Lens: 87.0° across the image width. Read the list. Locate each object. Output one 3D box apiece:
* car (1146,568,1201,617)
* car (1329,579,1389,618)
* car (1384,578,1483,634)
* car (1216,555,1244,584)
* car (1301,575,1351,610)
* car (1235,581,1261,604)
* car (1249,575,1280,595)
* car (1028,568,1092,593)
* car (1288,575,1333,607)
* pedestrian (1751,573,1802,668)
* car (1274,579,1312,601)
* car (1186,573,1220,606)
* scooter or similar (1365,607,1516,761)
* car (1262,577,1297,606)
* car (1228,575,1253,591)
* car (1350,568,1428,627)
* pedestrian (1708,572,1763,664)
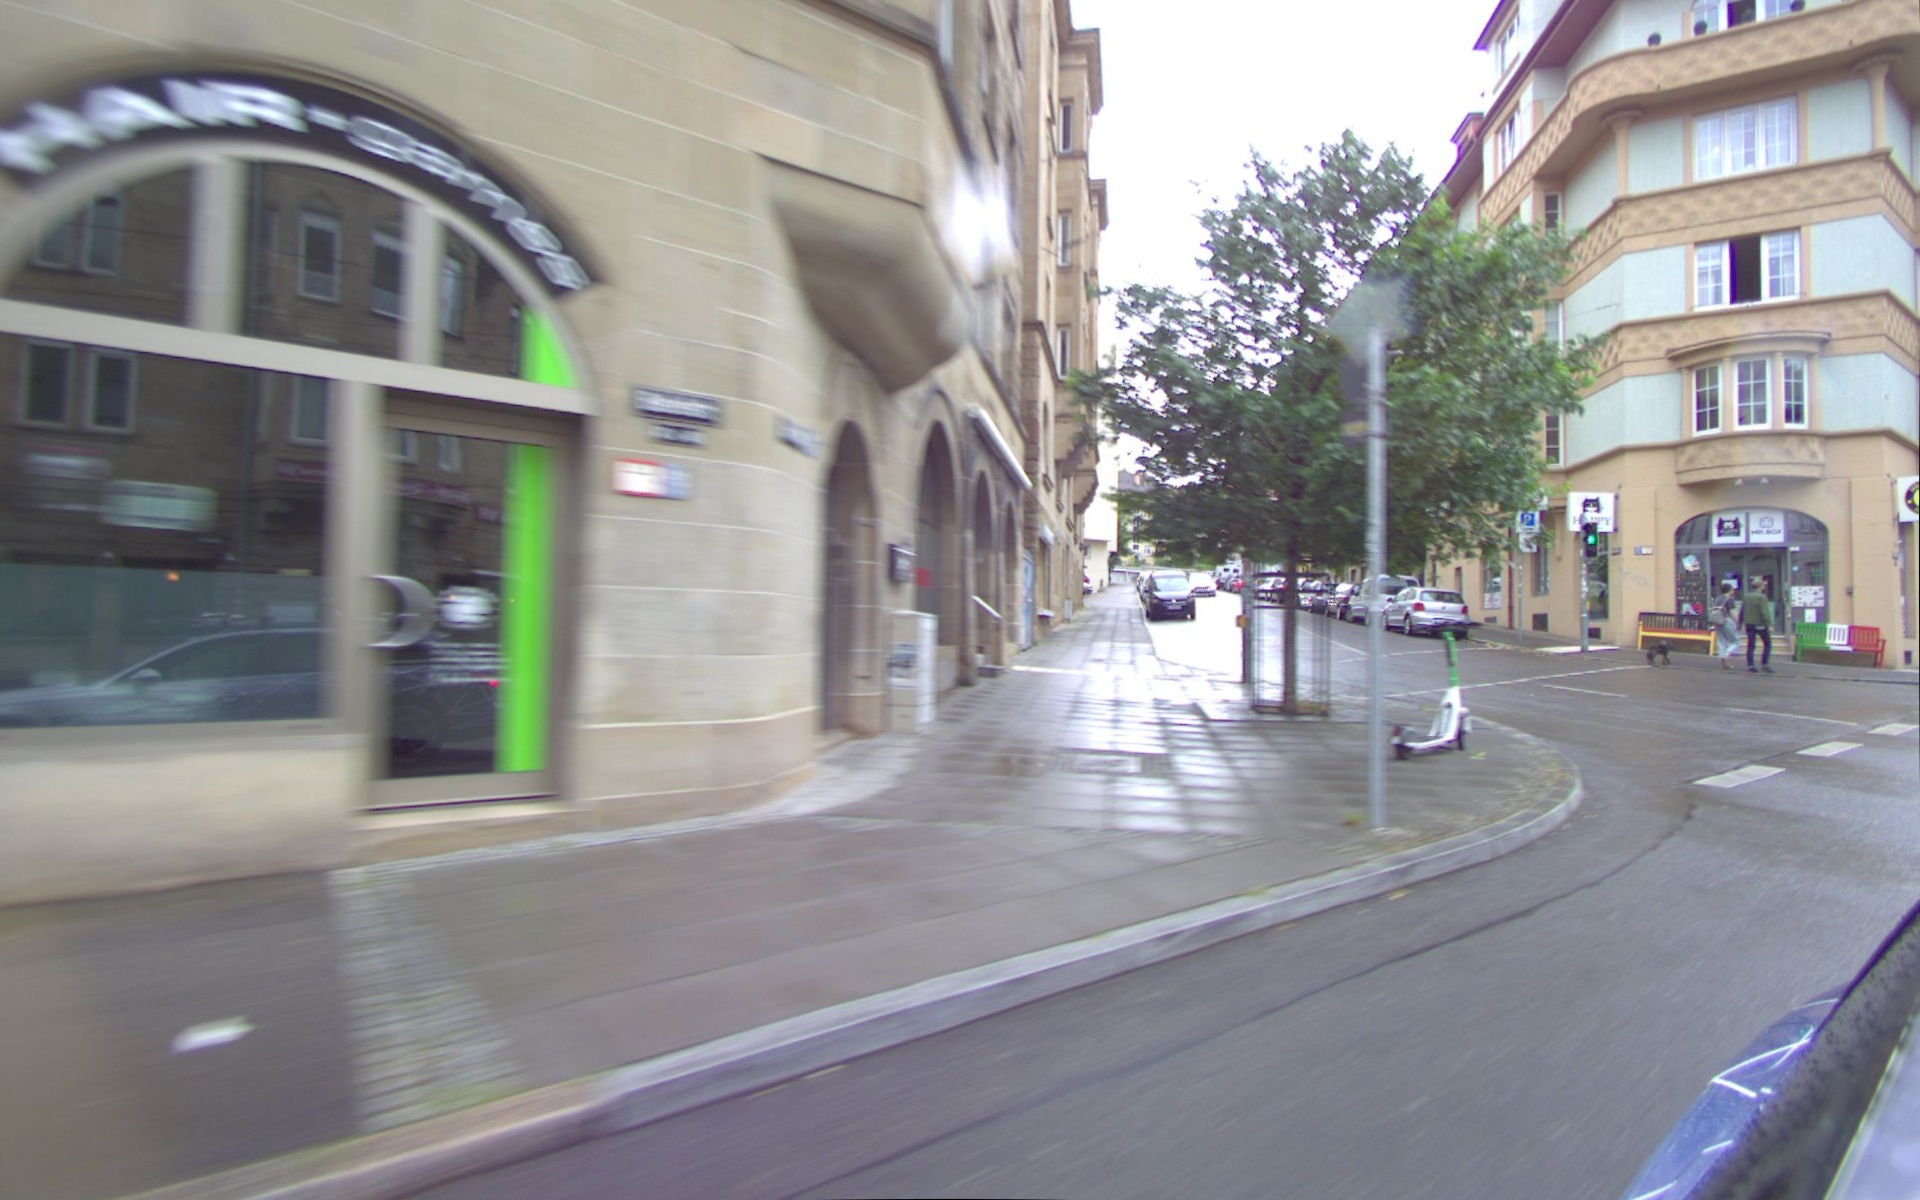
[{"bbox_3d":[8.194,-0.328,39.156,1.717,1.747,4.348,-2,1,8],"label":"car"},{"bbox_3d":[15.280,-0.086,38.852,1.423,1.443,3.291,0,1,9],"label":"car"},{"bbox_3d":[14.001,0.141,30.119,1.663,1.478,3.526,3,1,9],"label":"car"},{"bbox_3d":[23.846,-2.646,89.432,1.918,2.488,3.803,1,1,9],"label":"car"},{"bbox_3d":[16.274,-0.351,45.105,1.423,1.443,3.291,-2,0,9],"label":"car"},{"bbox_3d":[21.283,-0.547,74.821,1.423,1.594,3.276,-2,0,9],"label":"car"},{"bbox_3d":[19.212,-0.939,63.962,1.423,1.187,3.276,-2,0,9],"label":"car"},{"bbox_3d":[6.457,-1.234,65.140,3.939,1.502,1.736,-1,-1,13],"label":"car"},{"bbox_3d":[17.104,-0.452,49.521,1.423,1.443,3.291,-2,0,9],"label":"car"},{"bbox_3d":[15.967,0.390,19.795,0.875,1.811,0.595,0,1,-40],"label":"pedestrian"},{"bbox_3d":[18.072,-0.562,54.959,1.423,1.139,3.070,-2,0,9],"label":"car"},{"bbox_3d":[15.626,-0.688,65.260,1.718,1.895,3.989,-4,0,10],"label":"car"},{"bbox_3d":[4.236,0.680,8.883,1.525,1.225,0.639,0,0,-41],"label":"scooter or similar"},{"bbox_3d":[18.764,-0.506,59.494,1.423,1.594,3.276,-2,0,9],"label":"car"},{"bbox_3d":[21.806,-1.342,78.716,1.423,1.187,3.276,-2,0,9],"label":"car"},{"bbox_3d":[14.723,-0.111,34.881,1.579,1.867,3.546,-2,0,9],"label":"car"},{"bbox_3d":[15.598,0.347,20.352,0.886,1.811,0.683,0,1,-40],"label":"pedestrian"}]
